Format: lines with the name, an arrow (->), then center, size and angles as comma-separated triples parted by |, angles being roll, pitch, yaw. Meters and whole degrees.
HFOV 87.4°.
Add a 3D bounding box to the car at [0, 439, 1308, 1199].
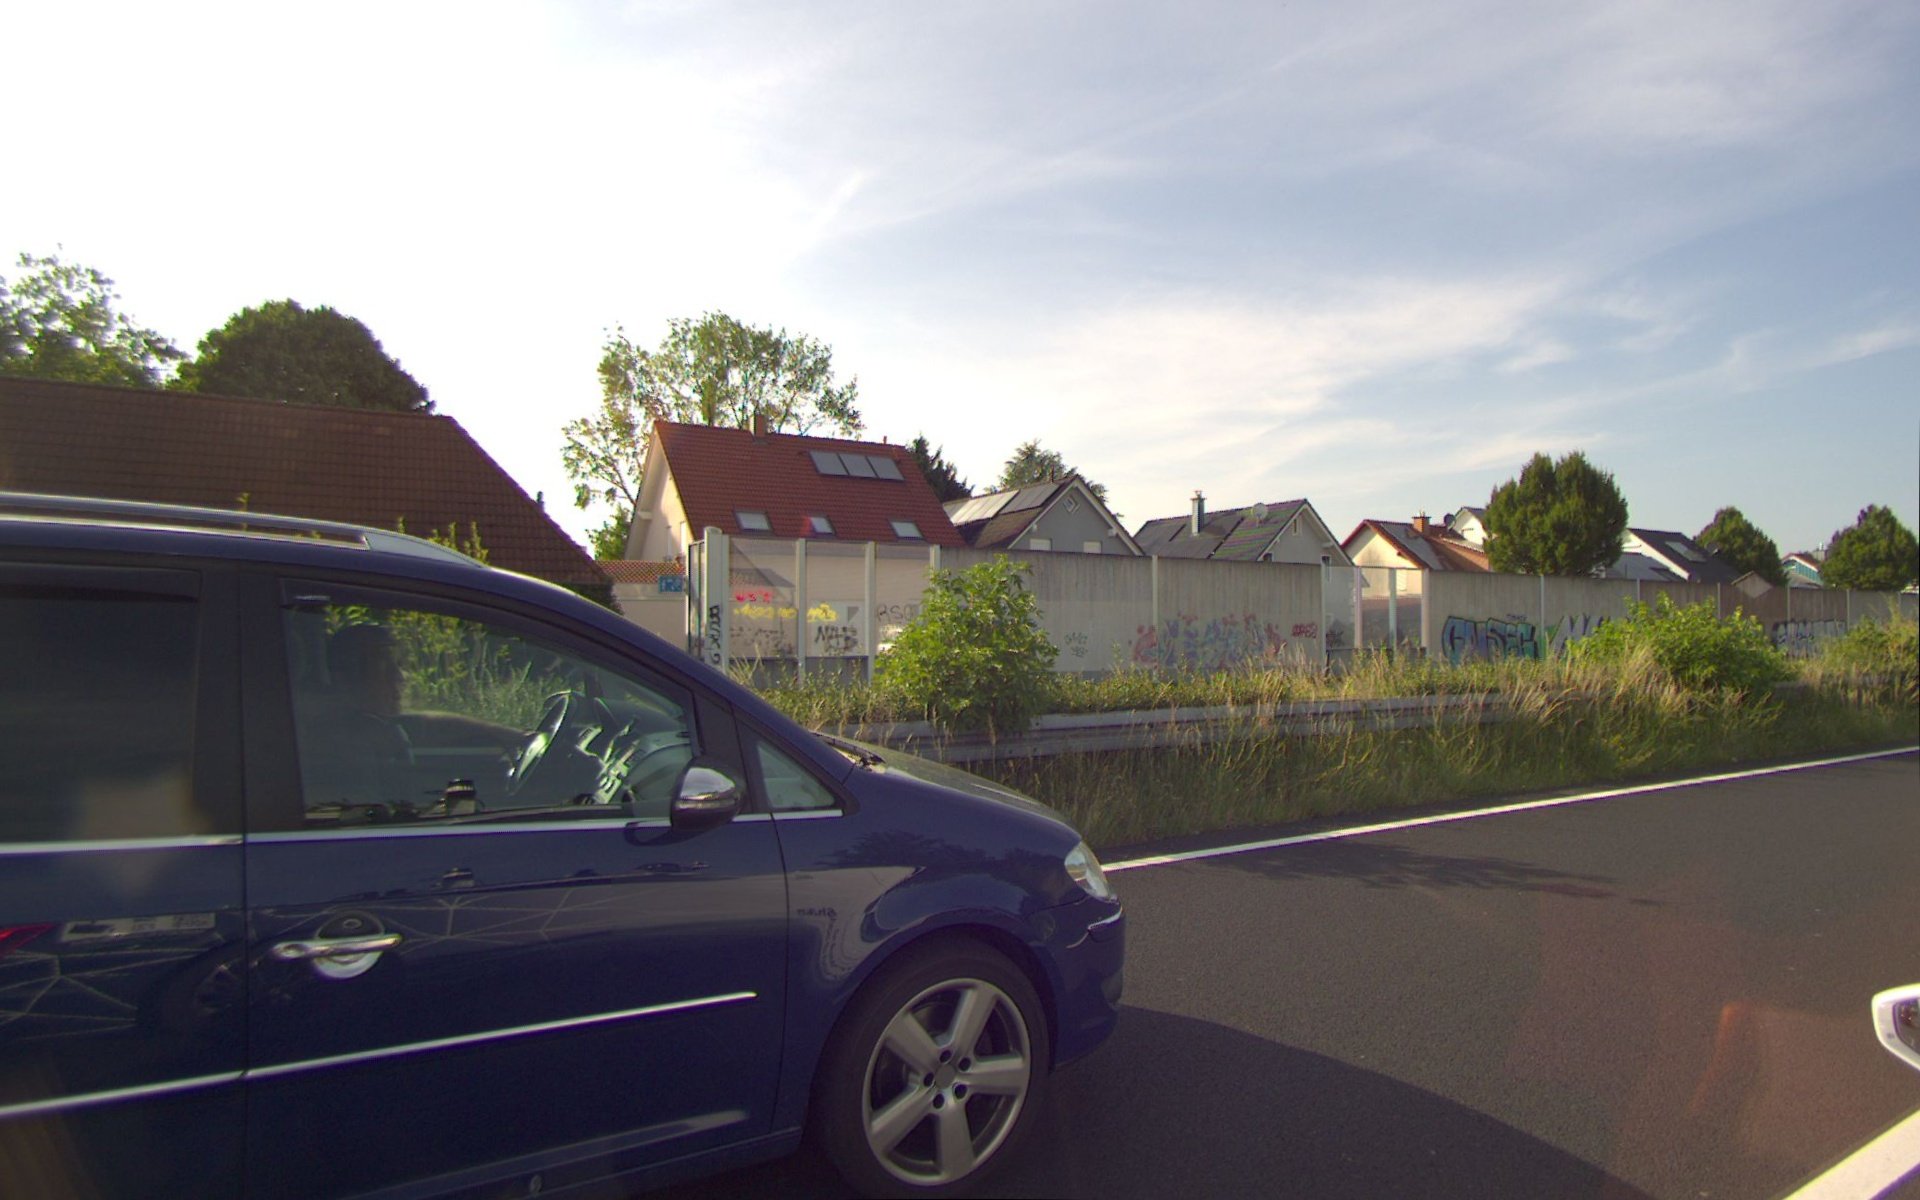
car -> -1.382, 0.592, 2.651 | 4.627, 1.643, 1.764 | 2, -1, -30
